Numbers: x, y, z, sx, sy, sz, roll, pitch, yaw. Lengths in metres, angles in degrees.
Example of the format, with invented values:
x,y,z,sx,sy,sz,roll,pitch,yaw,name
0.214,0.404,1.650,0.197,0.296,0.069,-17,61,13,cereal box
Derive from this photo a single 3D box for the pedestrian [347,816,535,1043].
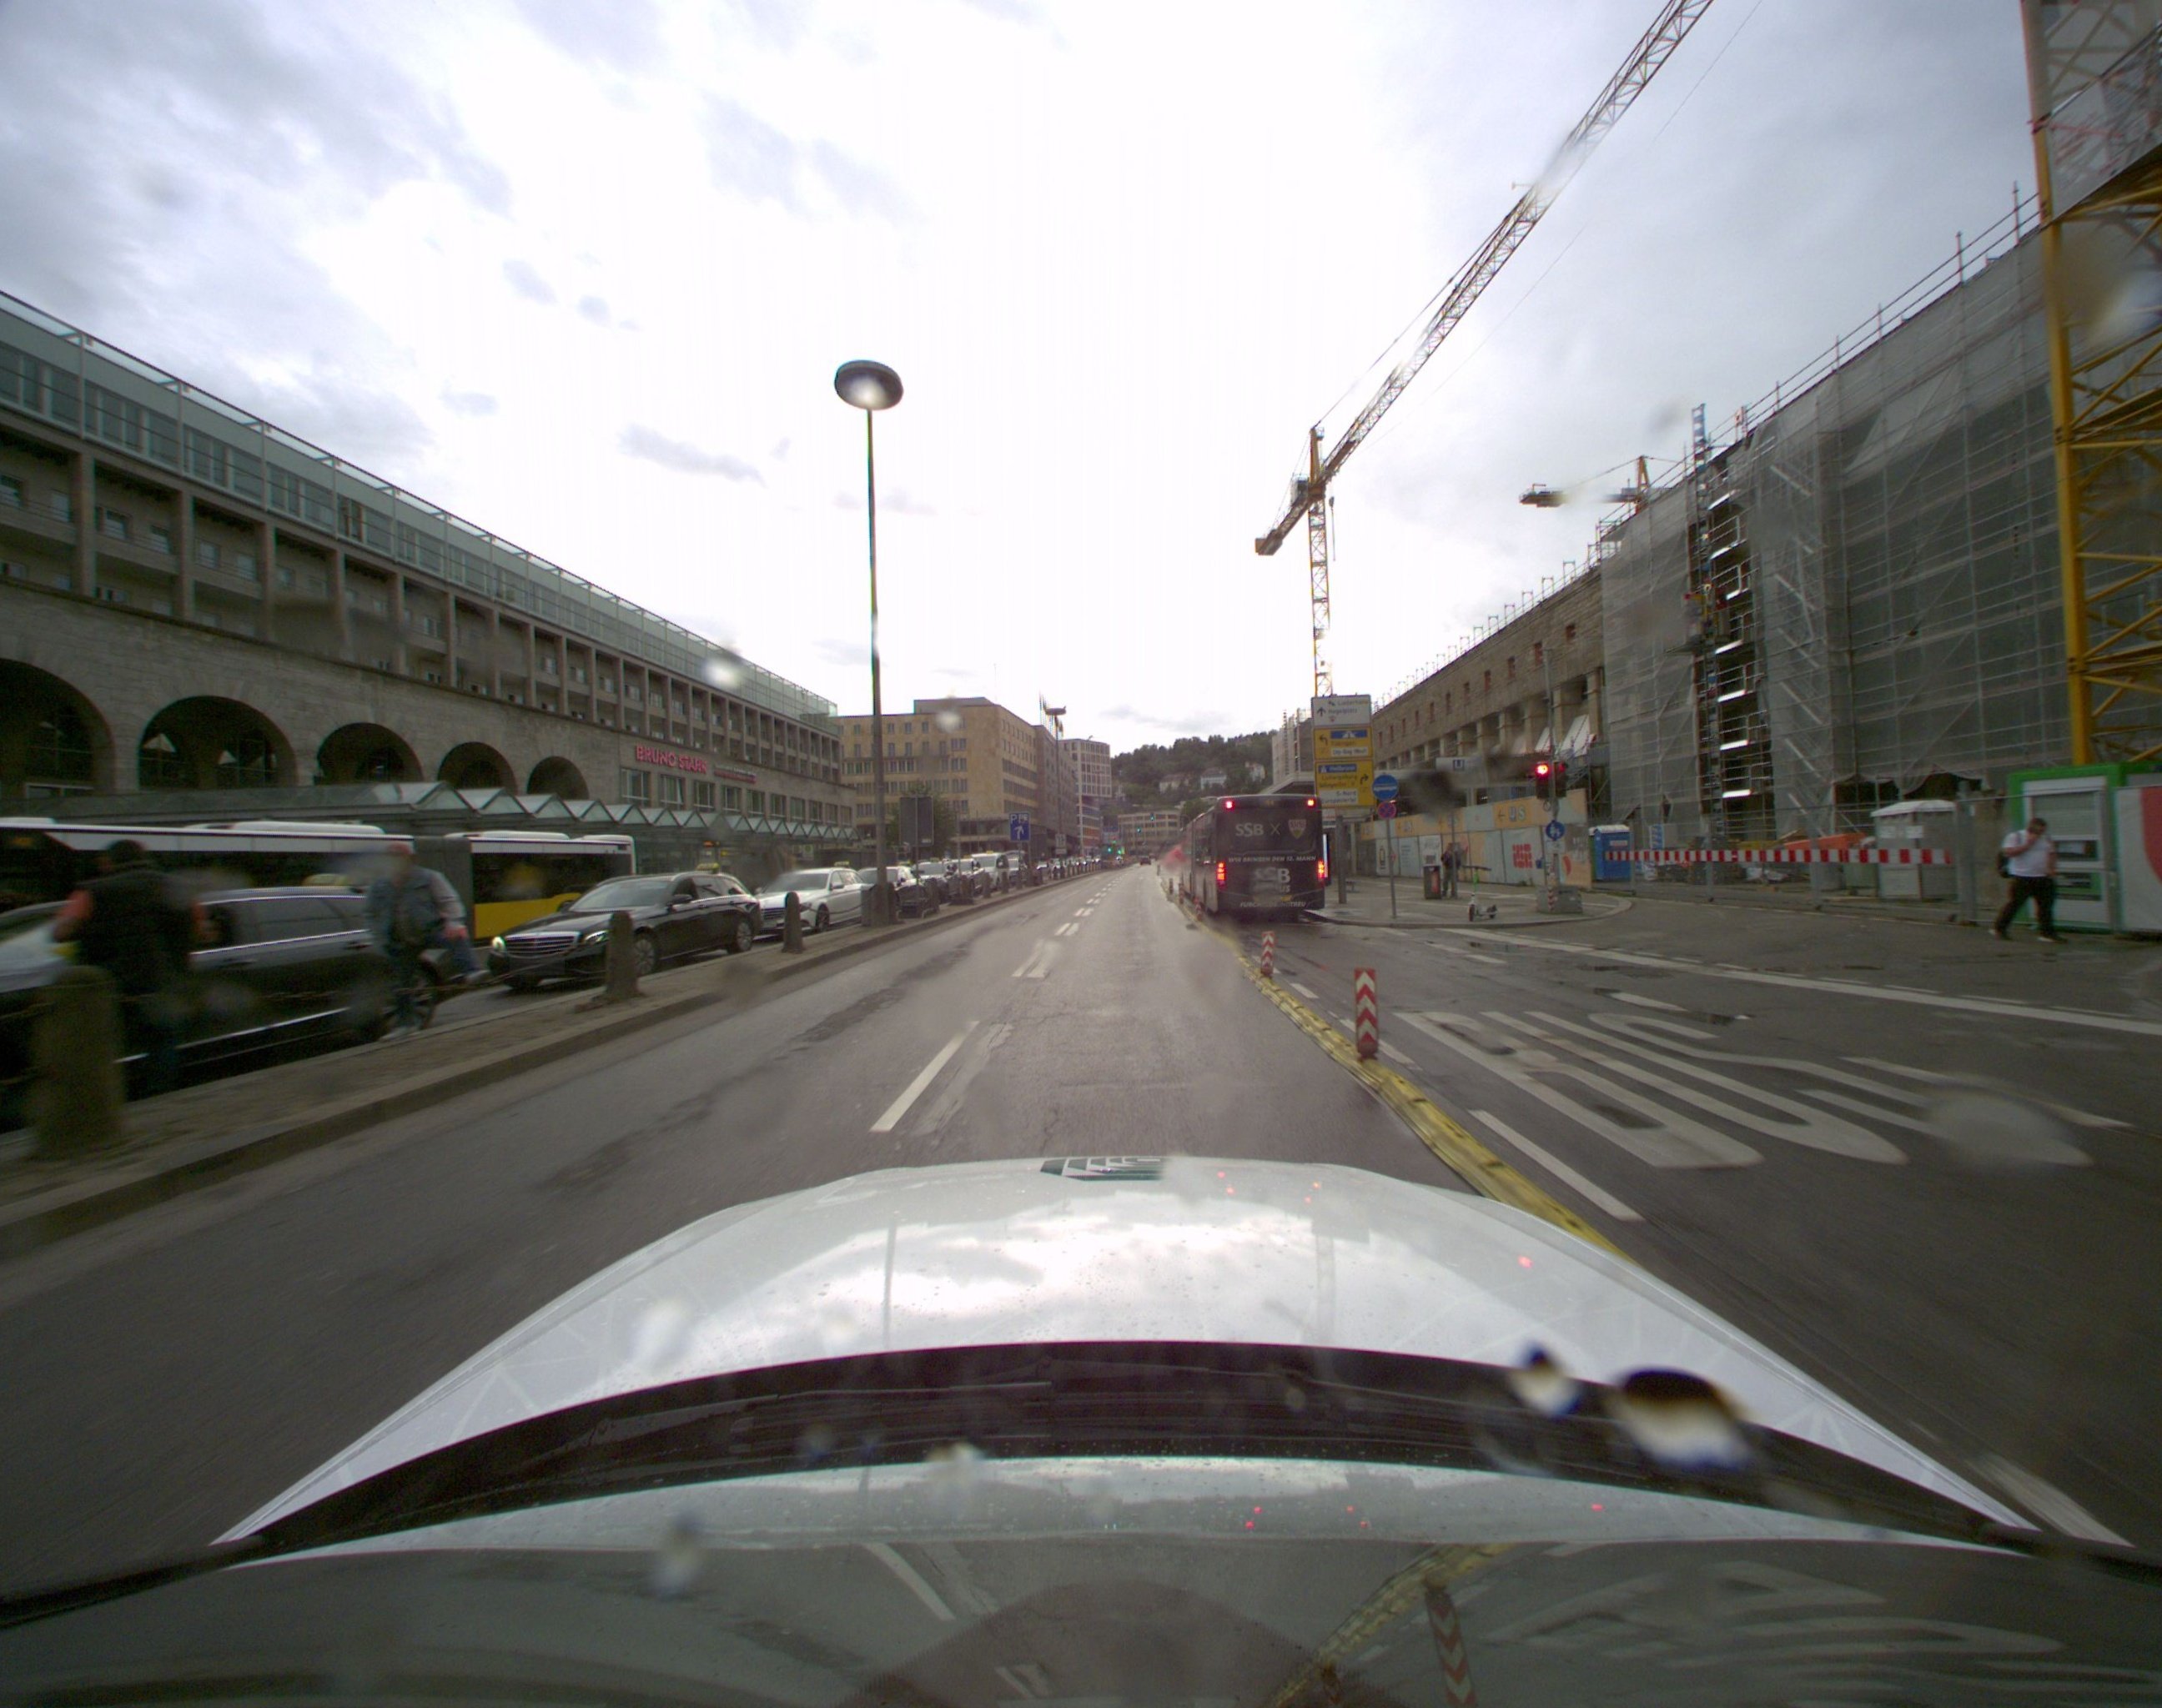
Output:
x,y,z,sx,sy,sz,roll,pitch,yaw,name
-5.278,0.600,6.756,1.046,1.768,0.617,-2,-1,2,pedestrian

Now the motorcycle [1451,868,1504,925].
x,y,z,sx,sy,sz,roll,pitch,yaw,name
8.580,0.890,17.583,0.579,1.166,1.627,-2,-1,42,motorcycle

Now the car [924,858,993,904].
x,y,z,sx,sy,sz,roll,pitch,yaw,name
-5.357,1.158,36.248,1.921,1.806,4.588,-3,-1,4,car

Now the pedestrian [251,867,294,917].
x,y,z,sx,sy,sz,roll,pitch,yaw,name
-26.189,1.226,26.394,0.627,1.567,0.758,0,0,5,pedestrian

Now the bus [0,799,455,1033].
x,y,z,sx,sy,sz,roll,pitch,yaw,name
-16.903,0.950,14.405,2.864,3.376,10.585,-2,0,4,bus

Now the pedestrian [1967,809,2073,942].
x,y,z,sx,sy,sz,roll,pitch,yaw,name
13.733,0.311,11.928,0.642,1.847,0.659,-5,-1,3,pedestrian

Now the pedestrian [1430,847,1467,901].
x,y,z,sx,sy,sz,roll,pitch,yaw,name
11.482,0.620,25.441,0.898,1.635,0.833,-2,-1,31,pedestrian

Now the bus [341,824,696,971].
x,y,z,sx,sy,sz,roll,pitch,yaw,name
-16.095,1.073,24.936,2.864,3.460,10.585,-2,0,4,bus

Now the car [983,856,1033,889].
x,y,z,sx,sy,sz,roll,pitch,yaw,name
-4.140,1.044,47.127,1.984,1.722,4.789,-2,0,5,car

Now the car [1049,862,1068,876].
x,y,z,sx,sy,sz,roll,pitch,yaw,name
-2.873,1.979,105.263,1.953,1.564,4.840,-4,0,4,car

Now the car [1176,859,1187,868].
x,y,z,sx,sy,sz,roll,pitch,yaw,name
19.061,1.798,154.240,1.984,1.706,4.006,-2,-1,5,car

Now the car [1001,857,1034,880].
x,y,z,sx,sy,sz,roll,pitch,yaw,name
-4.611,1.083,59.595,1.986,1.552,4.001,-2,-1,1,car

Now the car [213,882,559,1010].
x,y,z,sx,sy,sz,roll,pitch,yaw,name
-11.898,1.455,14.508,1.922,1.690,4.685,-3,-1,3,car

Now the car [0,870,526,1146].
x,y,z,sx,sy,sz,roll,pitch,yaw,name
-7.218,0.989,6.330,1.922,1.577,5.264,-3,-1,3,car

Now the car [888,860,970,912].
x,y,z,sx,sy,sz,roll,pitch,yaw,name
-5.696,1.160,31.140,1.922,1.699,4.888,-3,-1,3,car

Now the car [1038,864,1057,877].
x,y,z,sx,sy,sz,roll,pitch,yaw,name
-4.650,2.240,113.233,1.953,1.564,4.840,-4,0,4,car

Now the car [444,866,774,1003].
x,y,z,sx,sy,sz,roll,pitch,yaw,name
-6.783,1.026,12.568,1.922,1.577,5.015,-3,-1,3,car

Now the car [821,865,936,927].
x,y,z,sx,sy,sz,roll,pitch,yaw,name
-5.988,1.180,24.765,1.922,1.577,5.055,-3,-1,3,car

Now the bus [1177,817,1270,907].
x,y,z,sx,sy,sz,roll,pitch,yaw,name
5.395,0.325,32.390,2.743,3.066,9.002,-1,-1,4,bus

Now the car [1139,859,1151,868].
x,y,z,sx,sy,sz,roll,pitch,yaw,name
11.261,1.652,142.741,1.984,1.552,4.005,-2,-1,5,car

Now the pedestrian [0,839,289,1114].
x,y,z,sx,sy,sz,roll,pitch,yaw,name
-5.989,0.715,5.274,0.720,1.606,0.997,0,0,3,pedestrian

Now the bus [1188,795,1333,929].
x,y,z,sx,sy,sz,roll,pitch,yaw,name
4.736,0.238,23.347,2.743,3.069,9.089,-1,-1,4,bus

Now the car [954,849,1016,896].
x,y,z,sx,sy,sz,roll,pitch,yaw,name
-4.805,0.894,41.733,1.984,2.178,5.551,-2,0,5,car

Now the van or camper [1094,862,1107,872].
x,y,z,sx,sy,sz,roll,pitch,yaw,name
4.068,2.612,167.295,1.983,2.014,5.199,-2,-1,7,van or camper

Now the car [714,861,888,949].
x,y,z,sx,sy,sz,roll,pitch,yaw,name
-6.255,1.058,18.979,1.968,1.659,5.196,-3,-1,3,car

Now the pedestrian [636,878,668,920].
x,y,z,sx,sy,sz,roll,pitch,yaw,name
-17.874,1.857,33.924,0.736,1.667,1.027,0,0,5,pedestrian

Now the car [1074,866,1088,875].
x,y,z,sx,sy,sz,roll,pitch,yaw,name
-0.006,3.204,157.057,1.983,1.617,4.988,-2,-1,7,car
